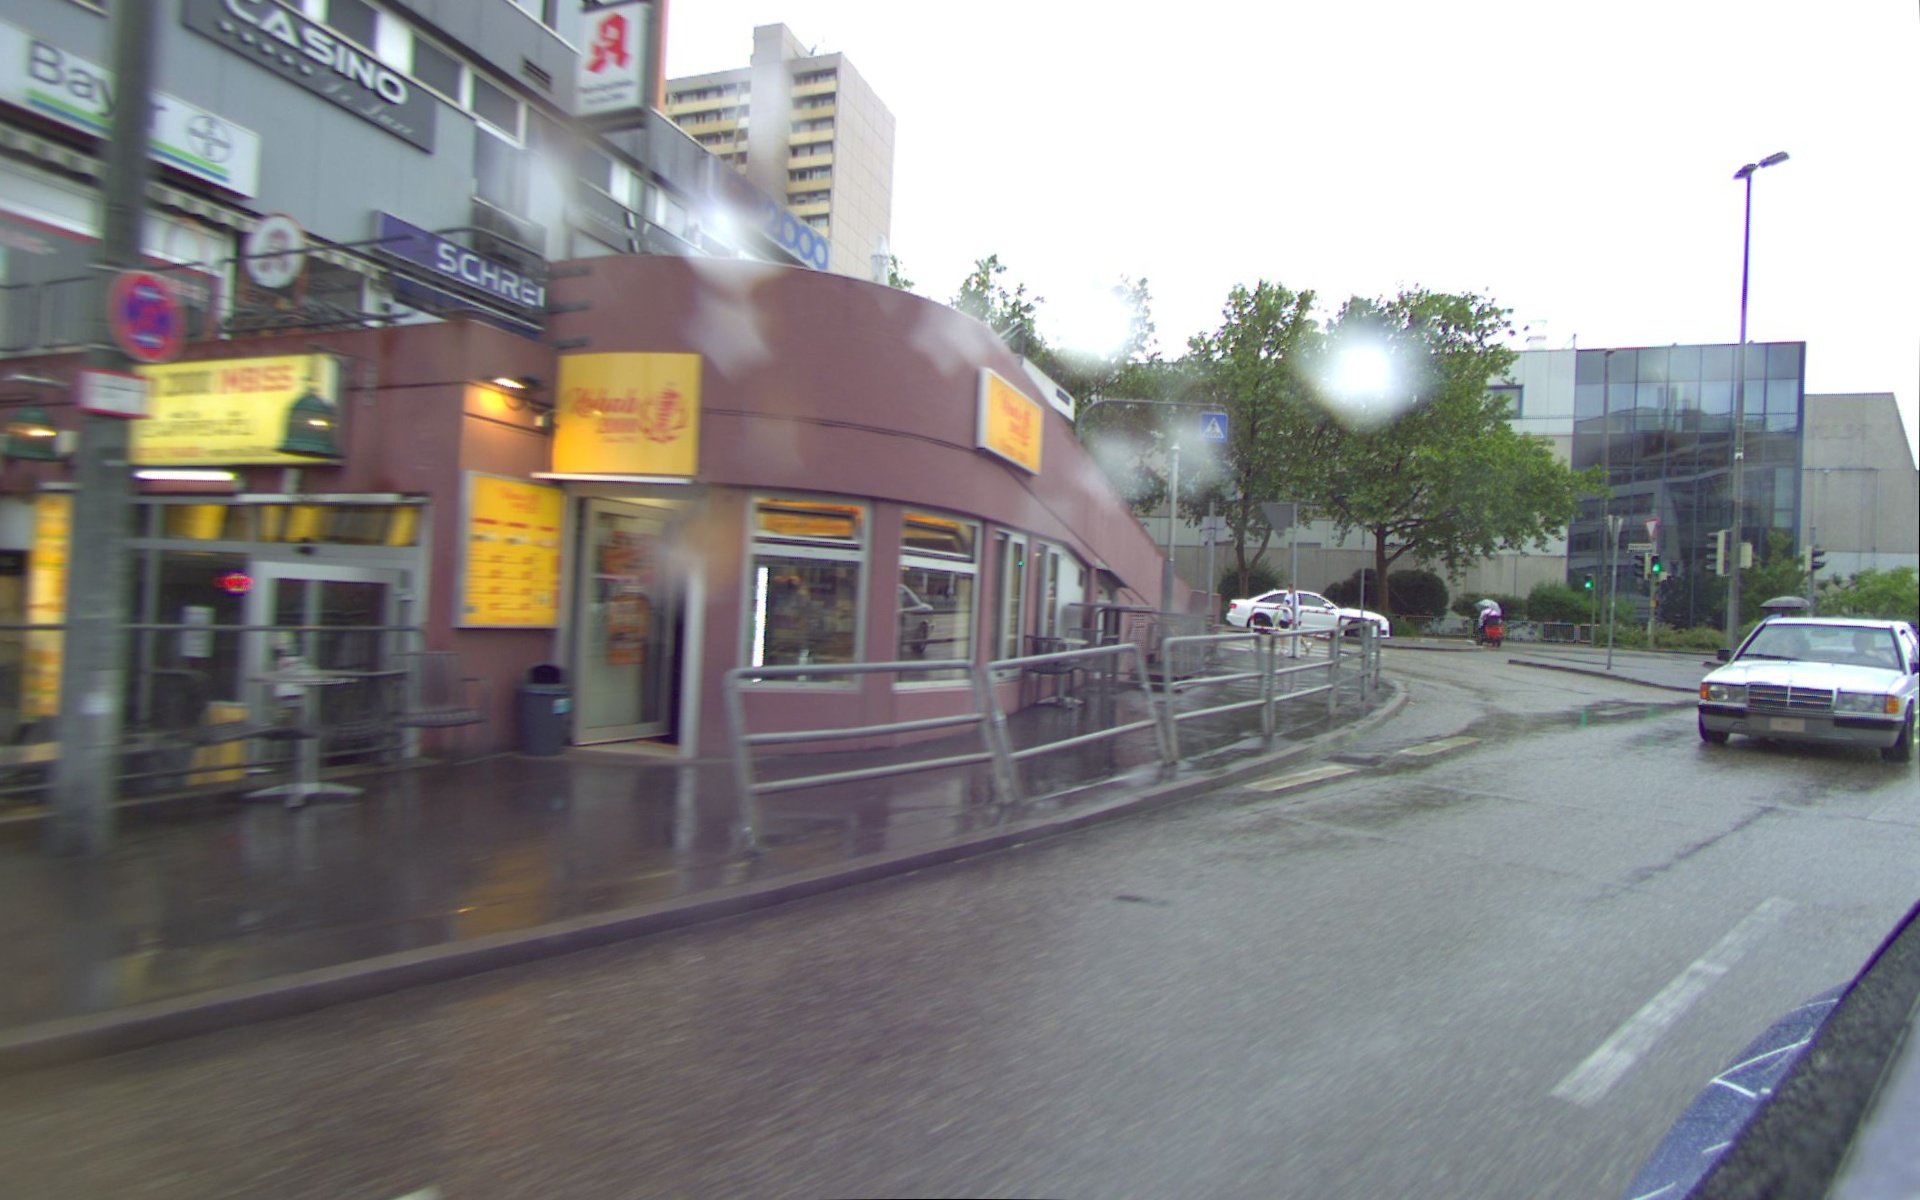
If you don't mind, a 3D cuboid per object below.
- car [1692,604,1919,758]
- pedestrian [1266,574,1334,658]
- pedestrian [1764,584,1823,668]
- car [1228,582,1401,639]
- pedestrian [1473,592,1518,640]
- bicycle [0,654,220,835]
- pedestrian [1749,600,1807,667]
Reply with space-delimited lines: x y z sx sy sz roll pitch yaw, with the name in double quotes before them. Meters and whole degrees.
"car" 9.622 0.749 11.029 3.922 1.324 1.662 1 2 -39
"pedestrian" 7.753 0.348 23.125 1.237 1.852 0.717 1 1 -6
"pedestrian" 18.779 0.571 22.813 0.781 1.825 0.689 1 3 -31
"car" 10.917 0.278 31.322 4.873 1.532 1.838 2 1 22
"pedestrian" 16.574 0.483 31.332 0.909 1.418 1.208 2 1 13
"bicycle" -5.872 0.912 6.721 0.523 0.949 1.571 4 2 12
"pedestrian" 18.073 0.725 22.354 0.756 1.396 0.689 1 4 -31
